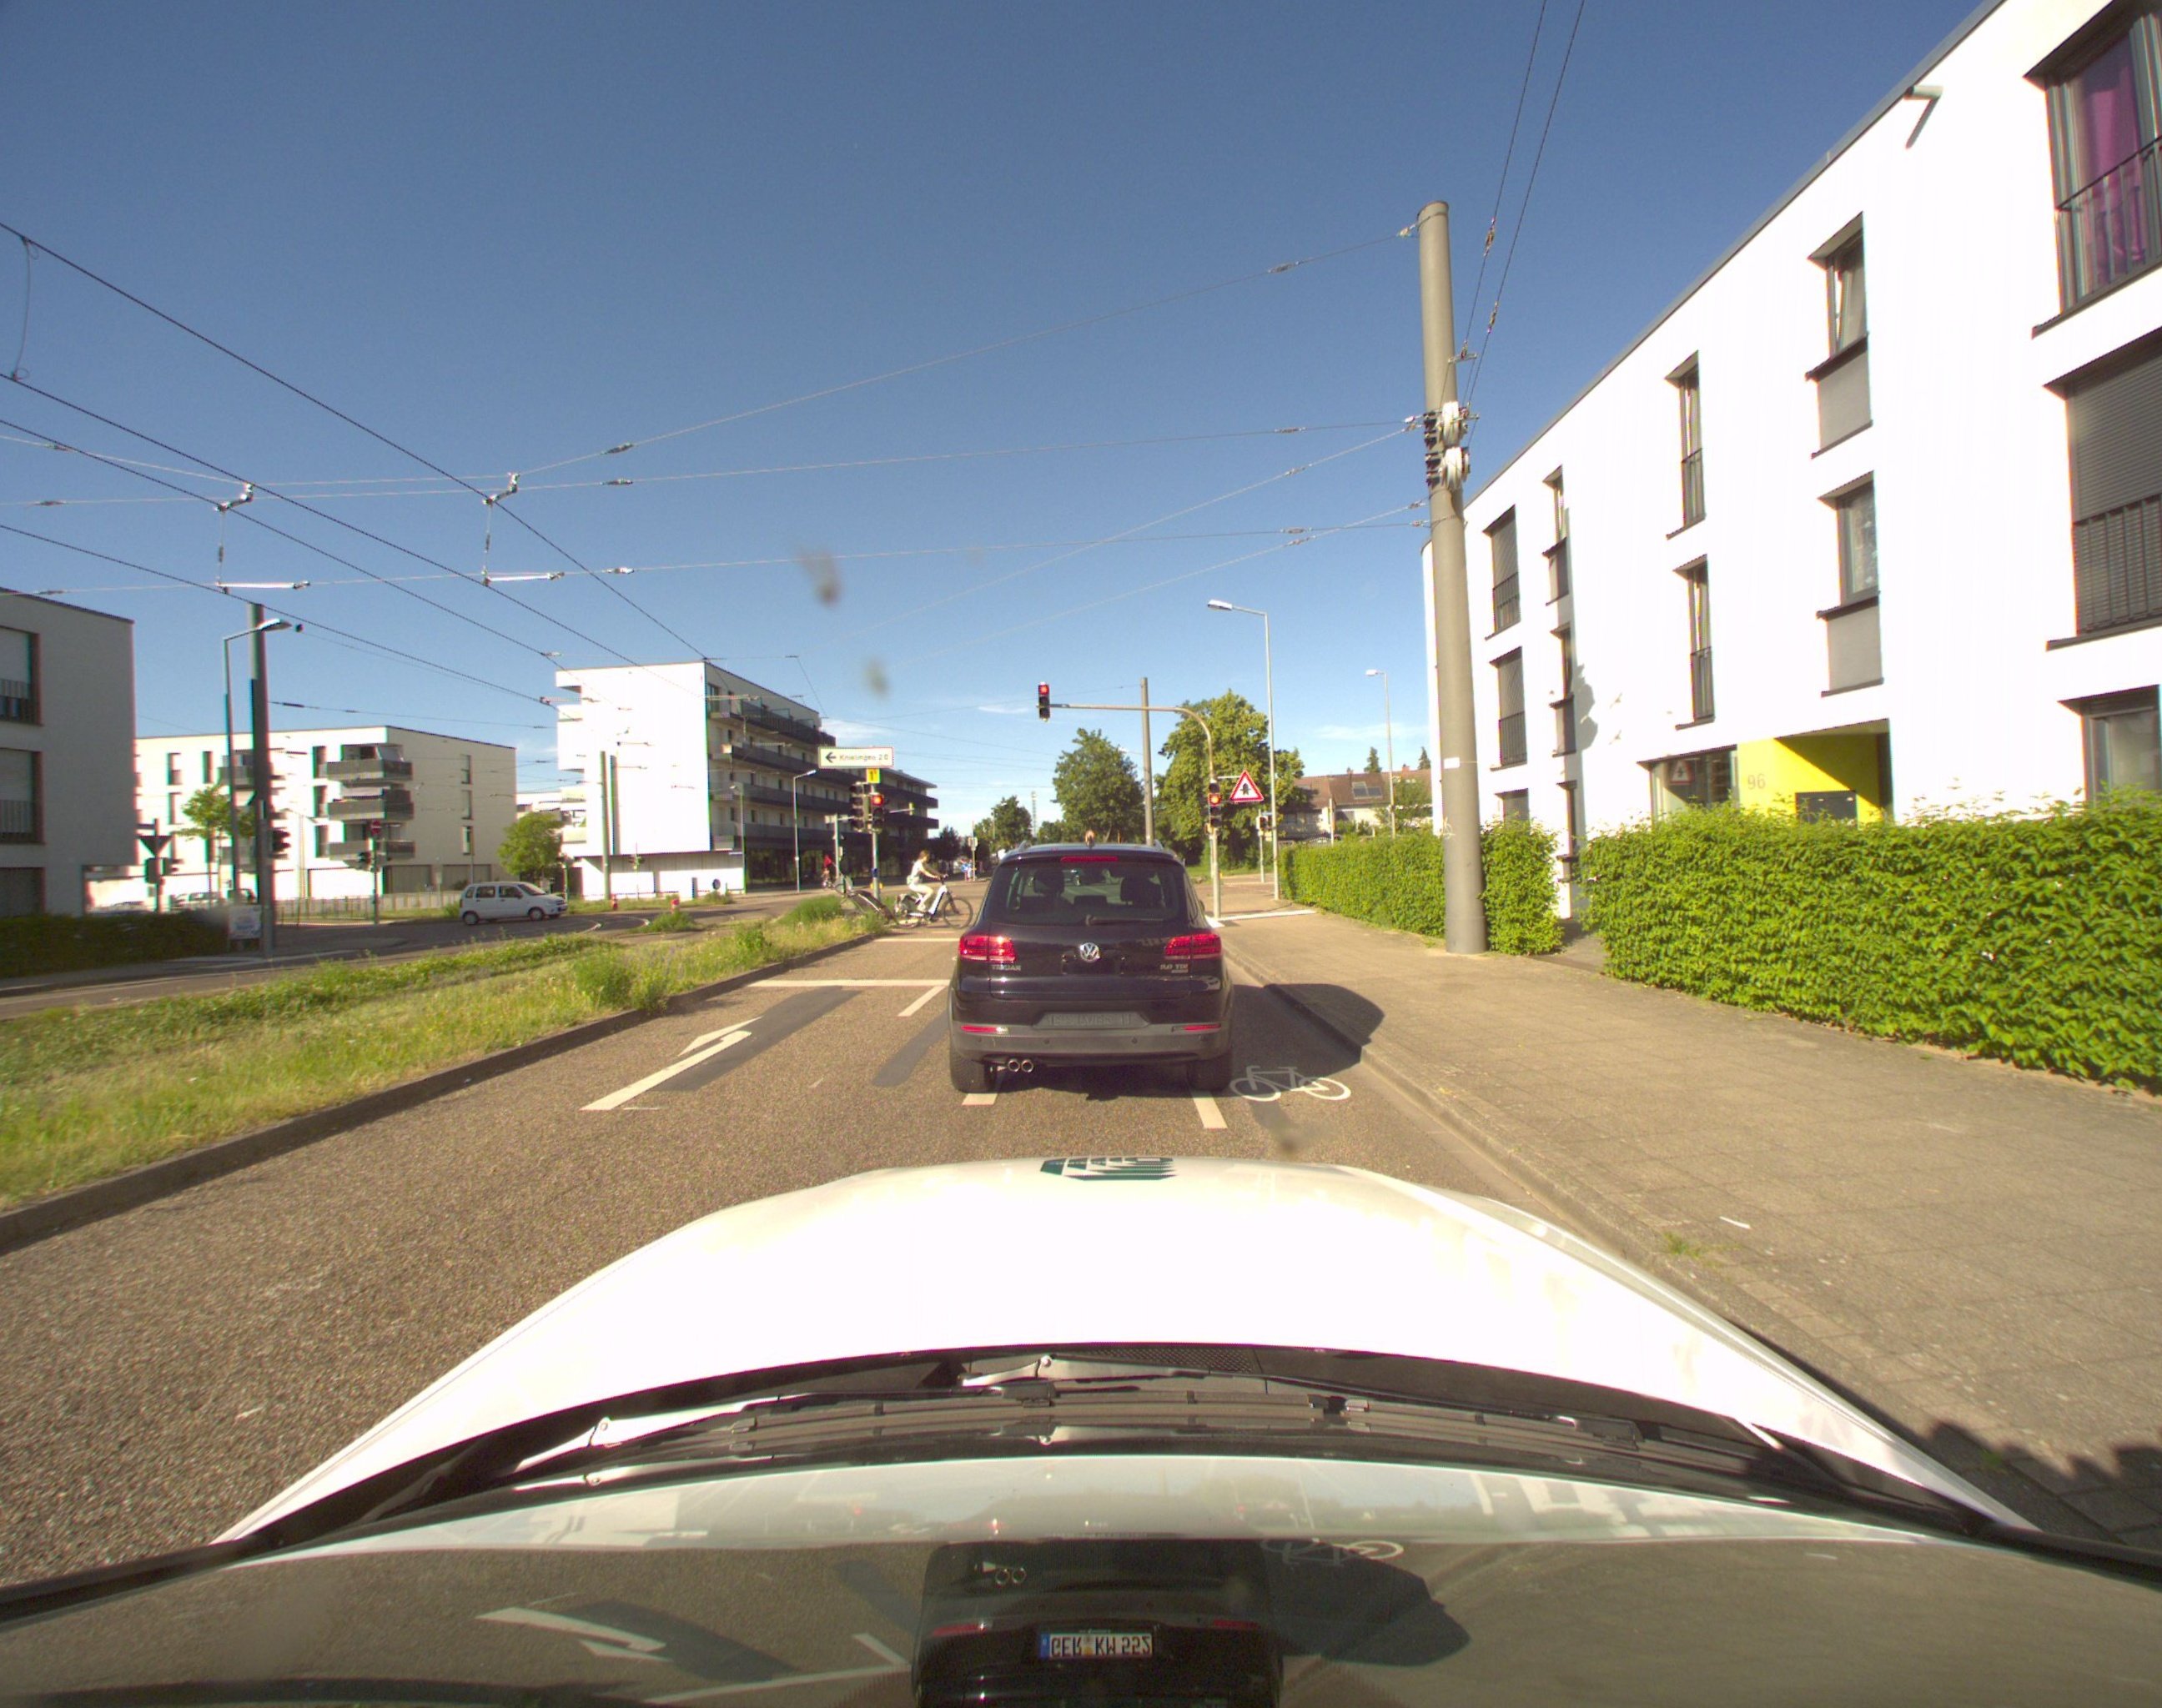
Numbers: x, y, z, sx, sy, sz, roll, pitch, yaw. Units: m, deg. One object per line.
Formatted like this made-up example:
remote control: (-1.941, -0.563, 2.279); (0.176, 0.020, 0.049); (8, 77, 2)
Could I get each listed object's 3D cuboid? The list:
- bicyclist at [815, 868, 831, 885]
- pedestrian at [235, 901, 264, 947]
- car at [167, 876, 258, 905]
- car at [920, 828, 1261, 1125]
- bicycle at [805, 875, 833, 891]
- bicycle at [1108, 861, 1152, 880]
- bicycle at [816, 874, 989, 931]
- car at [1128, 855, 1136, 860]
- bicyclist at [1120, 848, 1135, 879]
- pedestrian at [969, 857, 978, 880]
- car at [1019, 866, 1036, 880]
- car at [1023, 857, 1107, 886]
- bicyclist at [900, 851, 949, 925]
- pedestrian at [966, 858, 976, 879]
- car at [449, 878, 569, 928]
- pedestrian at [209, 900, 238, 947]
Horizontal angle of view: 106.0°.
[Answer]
bicyclist: (-18.882, 1.637, 59.570); (0.833, 1.236, 0.747); (-1, 0, 26)
pedestrian: (-27.709, 2.318, 27.143); (0.561, 1.464, 0.605); (-1, 0, -36)
car: (-58.714, 2.457, 55.096); (3.974, 1.838, 2.000); (-1, 0, 0)
car: (0.075, 0.693, 6.597); (1.899, 1.643, 4.000); (-1, 0, 0)
bicycle: (-19.011, 2.118, 59.168); (0.958, 1.085, 1.845); (-1, 0, 25)
bicycle: (2.846, 0.940, 47.130); (2.492, 1.059, 0.777); (-1, 0, 4)
bicycle: (-4.004, 1.078, 18.504); (3.670, 1.174, 0.999); (1, 0, 0)
car: (13.024, 0.893, 208.974); (1.745, 1.387, 4.000); (-1, 0, 0)
bicyclist: (2.694, 0.546, 47.151); (0.799, 1.807, 0.685); (-1, 0, 5)
pedestrian: (-7.996, 1.076, 60.584); (0.600, 1.640, 0.530); (-1, 0, 6)
car: (-6.773, 2.358, 103.018); (1.648, 1.640, 4.004); (-1, 0, 4)
car: (-0.882, 0.990, 45.806); (4.474, 1.504, 2.003); (-1, 0, 6)
bicyclist: (-3.546, 0.746, 18.525); (0.906, 1.630, 0.976); (-1, 0, 1)
pedestrian: (-8.096, 1.050, 60.010); (0.600, 1.565, 0.530); (-1, 0, 6)
car: (-22.906, 1.921, 32.733); (3.496, 1.652, 1.585); (-4, 0, -14)
pedestrian: (-28.256, 2.289, 26.838); (0.562, 1.464, 0.734); (-1, 0, -40)
